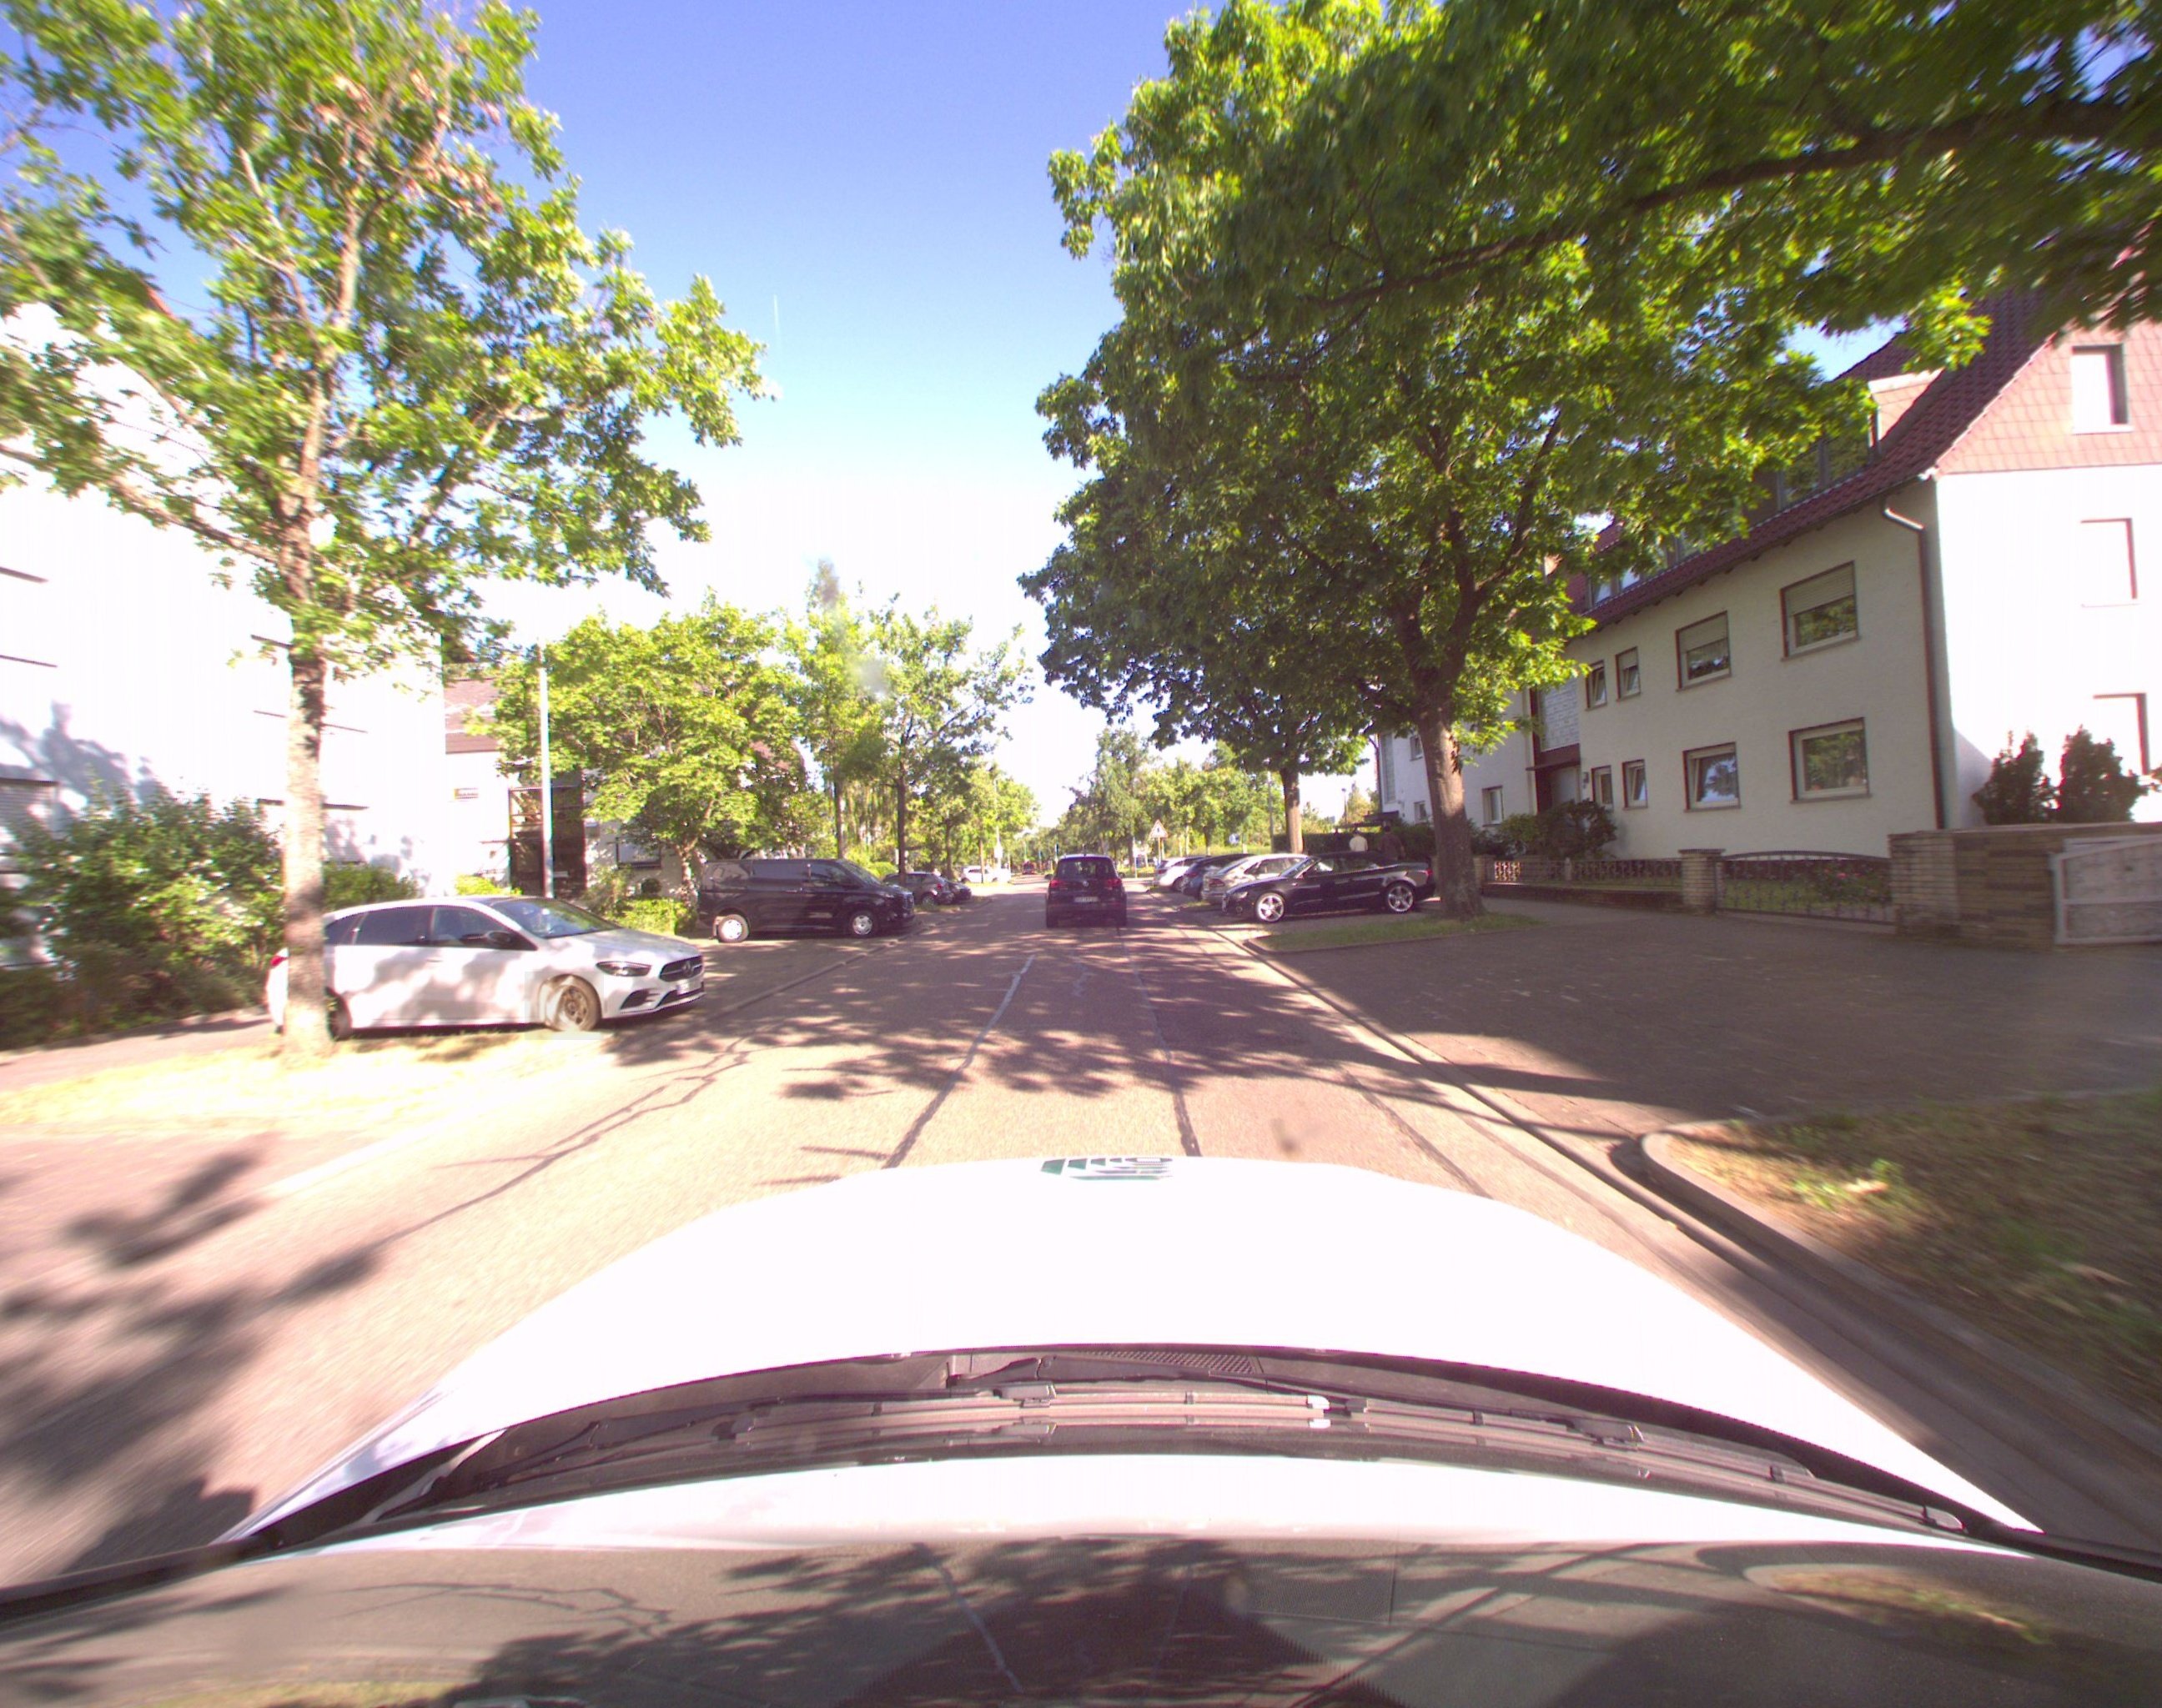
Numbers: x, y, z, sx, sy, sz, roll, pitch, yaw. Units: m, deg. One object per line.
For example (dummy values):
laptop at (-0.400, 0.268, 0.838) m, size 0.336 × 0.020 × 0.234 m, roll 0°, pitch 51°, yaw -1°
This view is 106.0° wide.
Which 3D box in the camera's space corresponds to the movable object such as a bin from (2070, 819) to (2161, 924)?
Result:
movable object such as a bin at (11.652, 0.174, 8.817) m, size 0.700 × 1.099 × 0.906 m, roll -3°, pitch -1°, yaw 0°

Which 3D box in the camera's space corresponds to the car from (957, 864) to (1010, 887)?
car at (-8.229, 1.774, 68.790) m, size 4.233 × 1.623 × 1.894 m, roll -4°, pitch 0°, yaw -3°

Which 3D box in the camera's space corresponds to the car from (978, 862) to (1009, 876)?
car at (-11.802, 1.991, 109.882) m, size 4.008 × 1.647 × 1.809 m, roll -4°, pitch 0°, yaw -3°

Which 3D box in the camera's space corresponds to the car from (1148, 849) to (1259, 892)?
car at (5.134, 0.689, 34.497) m, size 4.412 × 1.491 × 1.797 m, roll -4°, pitch 0°, yaw 1°

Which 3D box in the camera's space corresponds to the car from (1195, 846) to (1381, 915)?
car at (5.172, 0.649, 20.792) m, size 4.261 × 1.414 × 1.797 m, roll -4°, pitch 0°, yaw 1°

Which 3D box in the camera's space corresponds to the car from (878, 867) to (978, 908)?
car at (-6.525, 1.414, 35.023) m, size 3.843 × 1.459 × 1.714 m, roll -4°, pitch 0°, yaw 1°

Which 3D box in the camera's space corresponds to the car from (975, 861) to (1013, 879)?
car at (-9.489, 1.734, 89.229) m, size 4.007 × 1.647 × 1.809 m, roll -4°, pitch 0°, yaw -3°

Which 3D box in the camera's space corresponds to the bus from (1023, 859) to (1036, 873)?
bus at (-12.589, 2.945, 198.364) m, size 2.922 × 3.004 × 5.731 m, roll -3°, pitch -1°, yaw -3°

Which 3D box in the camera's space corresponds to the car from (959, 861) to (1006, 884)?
car at (-8.882, 1.645, 73.991) m, size 4.007 × 1.839 × 1.894 m, roll -4°, pitch 0°, yaw -3°

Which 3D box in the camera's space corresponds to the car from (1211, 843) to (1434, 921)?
car at (5.214, 0.602, 18.012) m, size 4.331 × 1.363 × 1.874 m, roll -4°, pitch -1°, yaw 1°

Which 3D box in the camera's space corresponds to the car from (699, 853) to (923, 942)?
car at (-6.499, 1.018, 20.066) m, size 4.764 × 1.917 × 2.018 m, roll -2°, pitch 0°, yaw -1°

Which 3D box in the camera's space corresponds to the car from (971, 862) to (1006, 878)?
car at (-11.293, 1.902, 99.260) m, size 4.007 × 1.647 × 1.809 m, roll -4°, pitch 0°, yaw -3°

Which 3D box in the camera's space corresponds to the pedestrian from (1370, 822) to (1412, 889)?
pedestrian at (8.843, 0.039, 23.238) m, size 0.831 × 1.828 × 0.711 m, roll -3°, pitch -2°, yaw 3°

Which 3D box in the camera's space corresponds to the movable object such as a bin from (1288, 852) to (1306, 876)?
movable object such as a bin at (9.680, 0.463, 36.501) m, size 0.532 × 1.045 × 0.699 m, roll -3°, pitch -1°, yaw -1°

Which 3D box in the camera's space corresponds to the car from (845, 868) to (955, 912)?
car at (-7.037, 1.397, 31.956) m, size 3.807 × 1.419 × 1.772 m, roll -4°, pitch 0°, yaw -1°

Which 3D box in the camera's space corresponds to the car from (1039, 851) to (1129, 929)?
car at (0.181, 0.797, 19.641) m, size 1.829 × 1.636 × 3.962 m, roll -2°, pitch -1°, yaw 4°

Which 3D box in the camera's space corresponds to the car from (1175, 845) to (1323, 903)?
car at (5.231, 0.604, 25.757) m, size 4.261 × 1.503 × 1.797 m, roll -4°, pitch 0°, yaw 1°

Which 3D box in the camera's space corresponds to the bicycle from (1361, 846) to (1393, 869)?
bicycle at (14.648, 0.168, 40.276) m, size 1.679 × 1.054 × 0.527 m, roll -3°, pitch -1°, yaw -32°

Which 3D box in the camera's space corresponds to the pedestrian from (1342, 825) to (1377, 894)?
pedestrian at (7.865, 0.165, 23.046) m, size 0.605 × 1.873 × 0.924 m, roll -3°, pitch -1°, yaw 3°

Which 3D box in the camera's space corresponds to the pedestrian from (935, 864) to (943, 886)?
pedestrian at (-10.713, 1.574, 61.413) m, size 0.439 × 1.557 × 0.801 m, roll -3°, pitch 0°, yaw -1°

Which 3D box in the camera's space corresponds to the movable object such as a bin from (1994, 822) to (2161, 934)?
movable object such as a bin at (10.778, 0.252, 8.816) m, size 0.700 × 1.111 × 0.906 m, roll -3°, pitch -1°, yaw 0°

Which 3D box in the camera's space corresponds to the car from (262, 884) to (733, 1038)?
car at (-6.648, 1.184, 9.613) m, size 4.260 × 1.478 × 1.769 m, roll -2°, pitch 0°, yaw 1°
